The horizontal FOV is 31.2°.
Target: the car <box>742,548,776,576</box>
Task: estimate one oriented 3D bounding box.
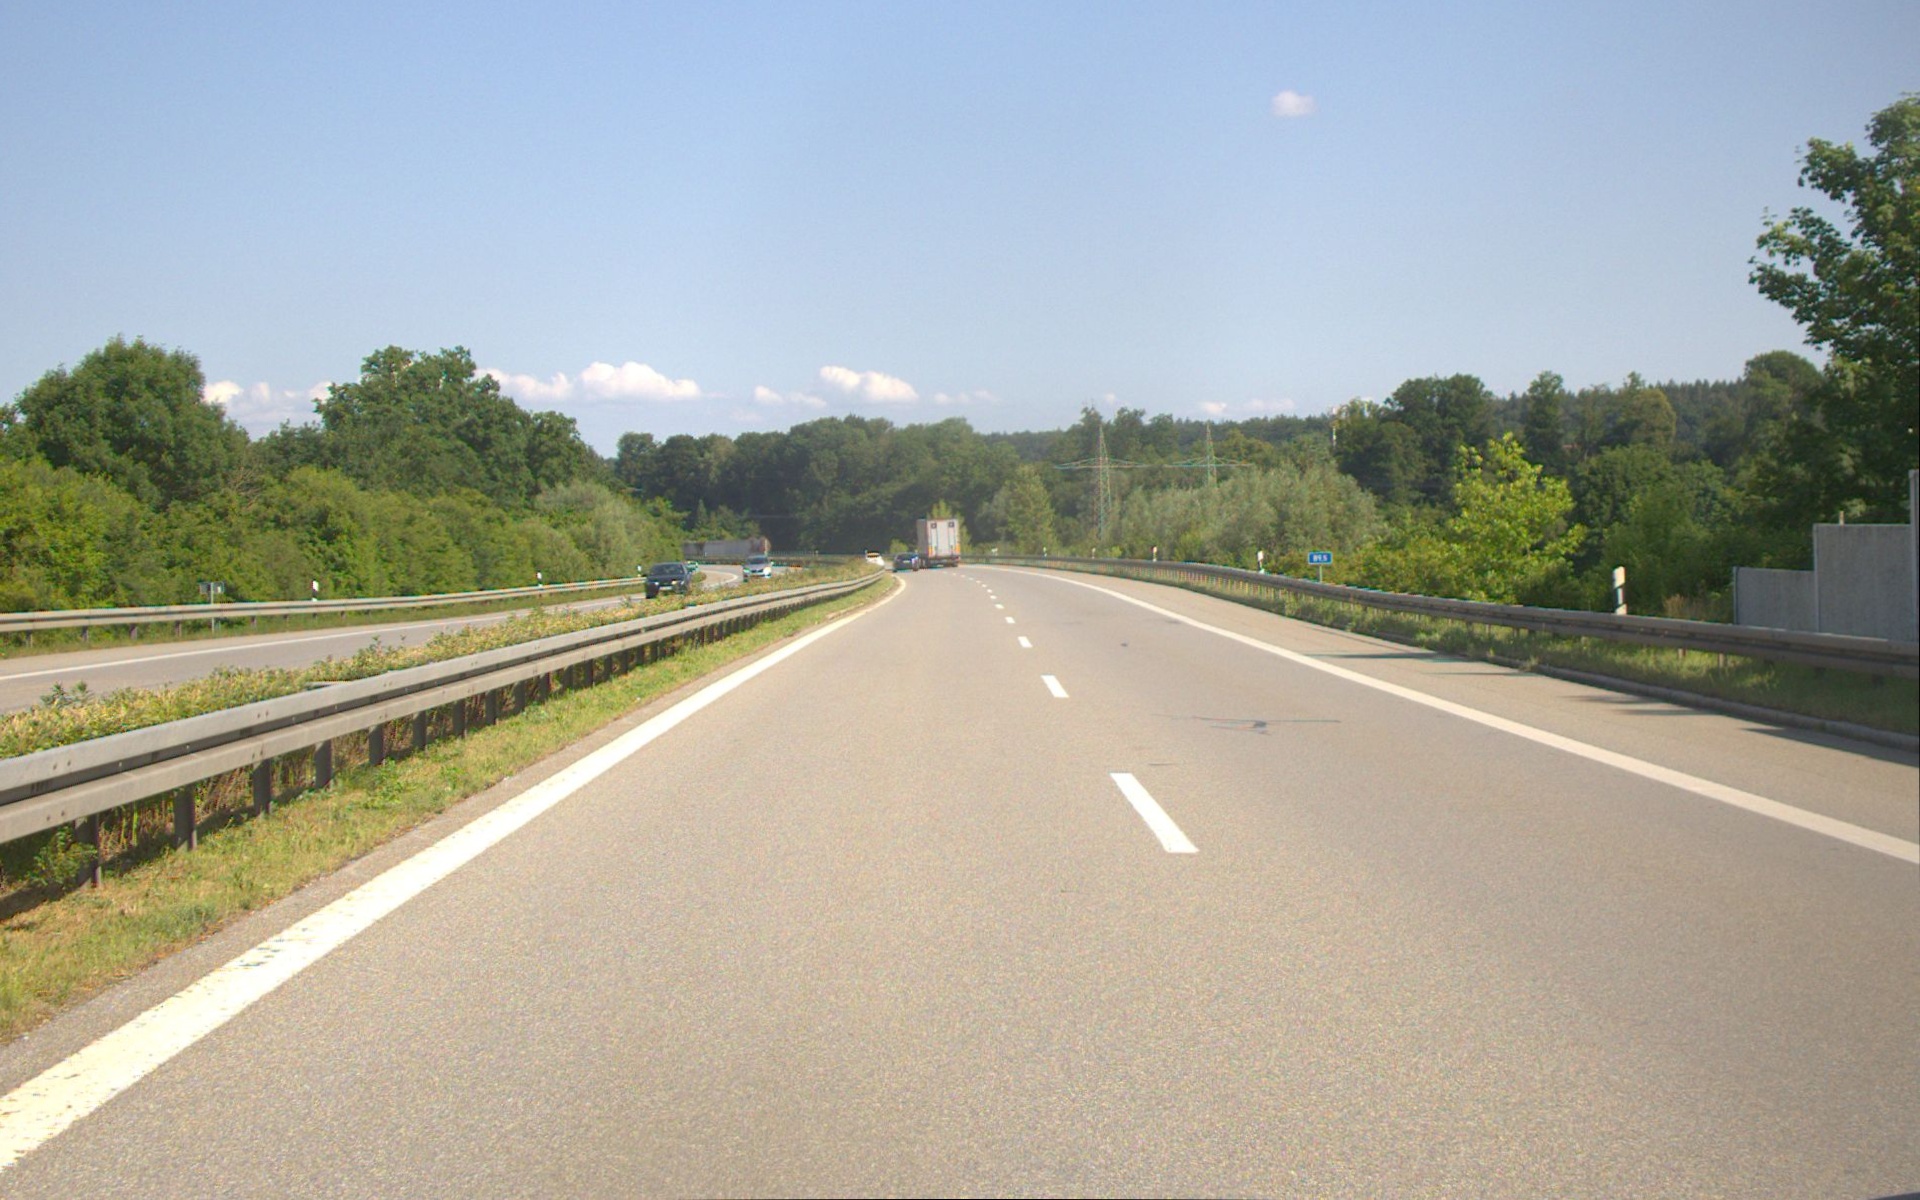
[{"bbox_3d":[-12.378,-2.367,212.108,1.909,1.583,4.918,-3,1,-2],"label":"car"}]

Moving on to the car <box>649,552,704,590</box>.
[{"bbox_3d":[-11.624,-1.210,141.231,1.739,1.440,4.768,-2,1,1],"label":"car"}]
